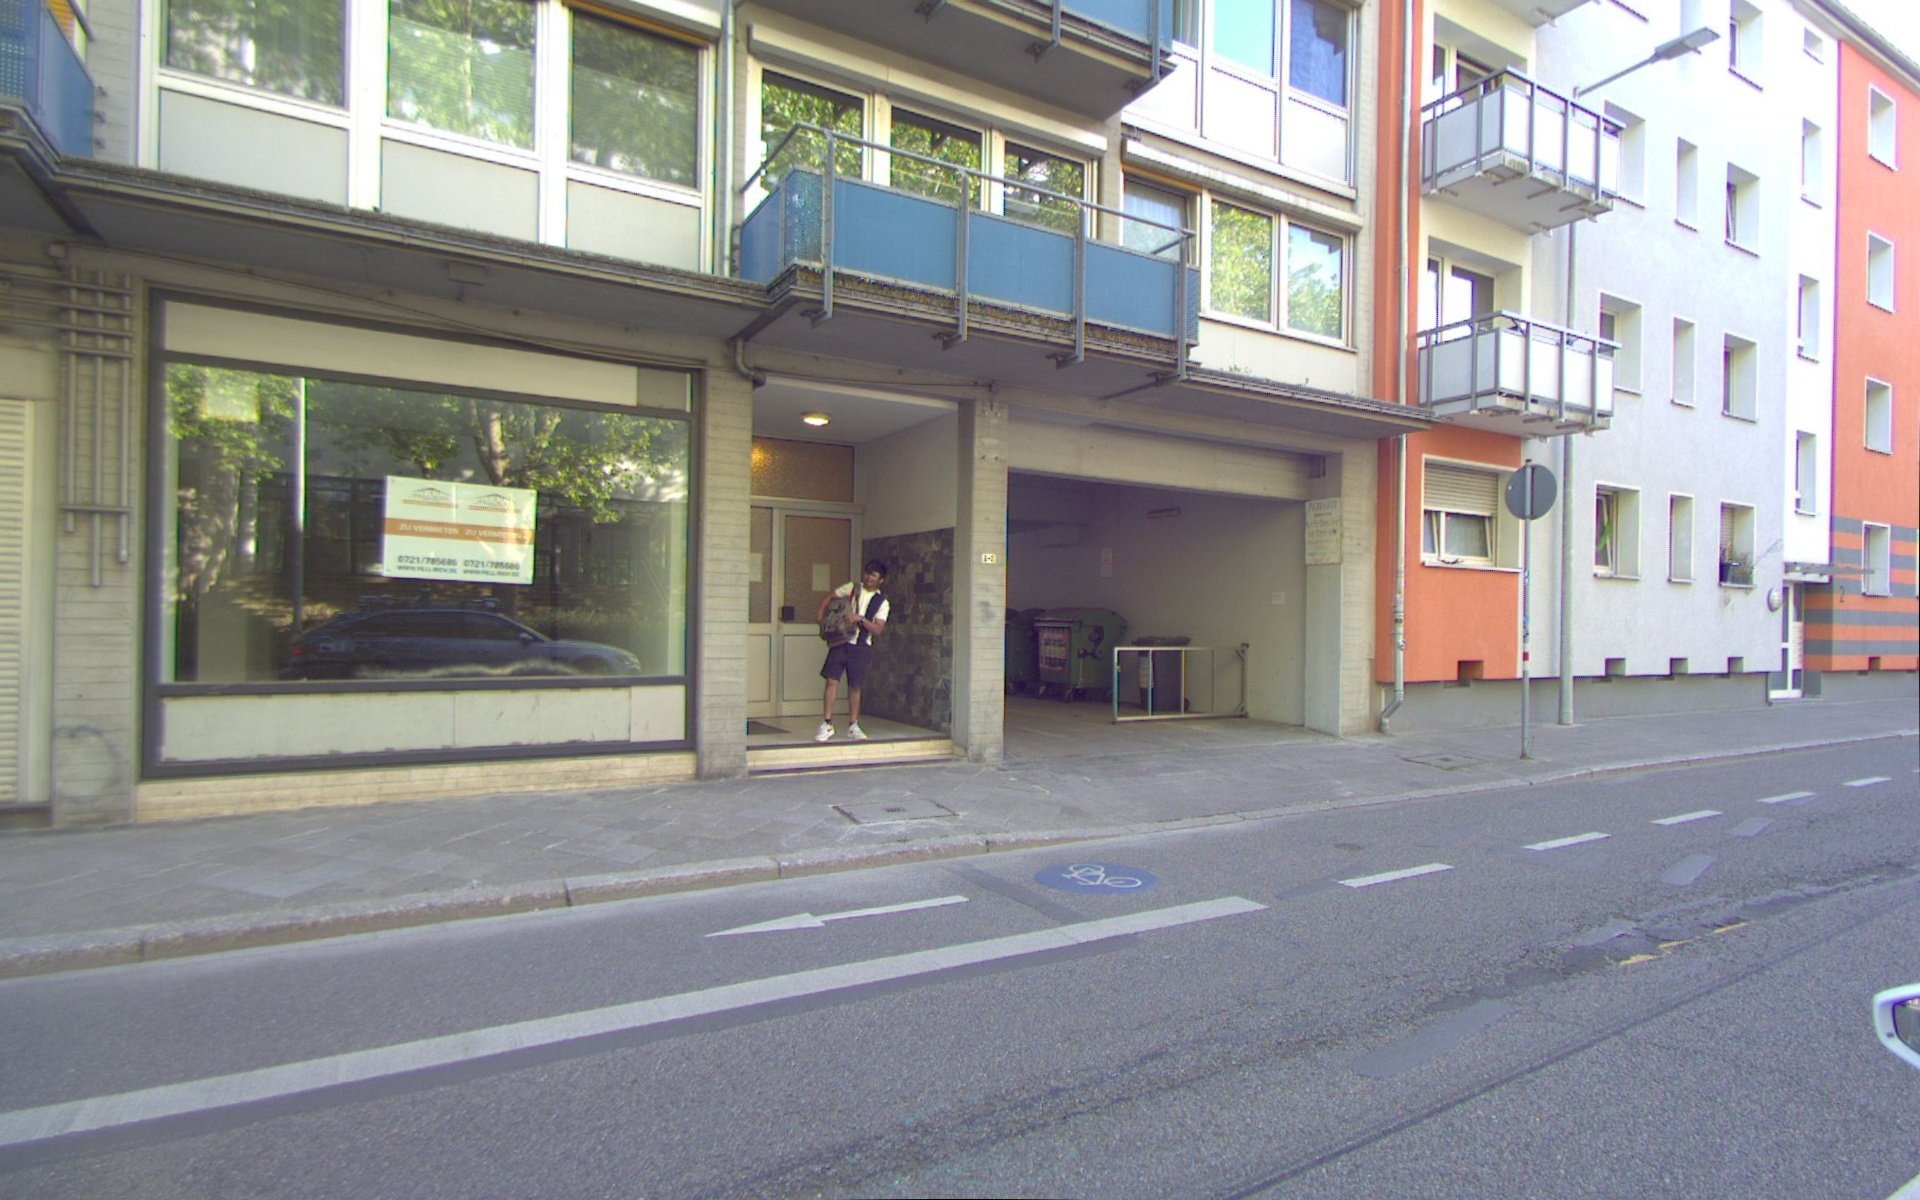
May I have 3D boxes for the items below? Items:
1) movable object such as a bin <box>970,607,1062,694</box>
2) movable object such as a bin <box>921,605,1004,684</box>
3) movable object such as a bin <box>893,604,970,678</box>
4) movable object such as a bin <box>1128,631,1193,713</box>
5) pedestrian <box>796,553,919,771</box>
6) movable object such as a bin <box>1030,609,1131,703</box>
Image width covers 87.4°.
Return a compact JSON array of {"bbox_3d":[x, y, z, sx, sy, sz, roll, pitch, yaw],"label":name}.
[{"bbox_3d":[0.942,0.838,17.123,1.066,1.384,1.255,2,0,-27],"label":"movable object such as a bin"},{"bbox_3d":[0.031,0.817,18.692,1.066,1.384,1.255,2,0,-27],"label":"movable object such as a bin"},{"bbox_3d":[-0.578,0.803,19.862,1.066,1.384,1.255,2,0,-27],"label":"movable object such as a bin"},{"bbox_3d":[2.884,1.021,14.459,0.650,1.115,0.626,2,0,-27],"label":"movable object such as a bin"},{"bbox_3d":[-0.953,0.547,9.251,0.882,1.902,0.703,2,0,-28],"label":"pedestrian"},{"bbox_3d":[1.883,0.861,15.809,1.066,1.384,1.192,2,0,-27],"label":"movable object such as a bin"}]
